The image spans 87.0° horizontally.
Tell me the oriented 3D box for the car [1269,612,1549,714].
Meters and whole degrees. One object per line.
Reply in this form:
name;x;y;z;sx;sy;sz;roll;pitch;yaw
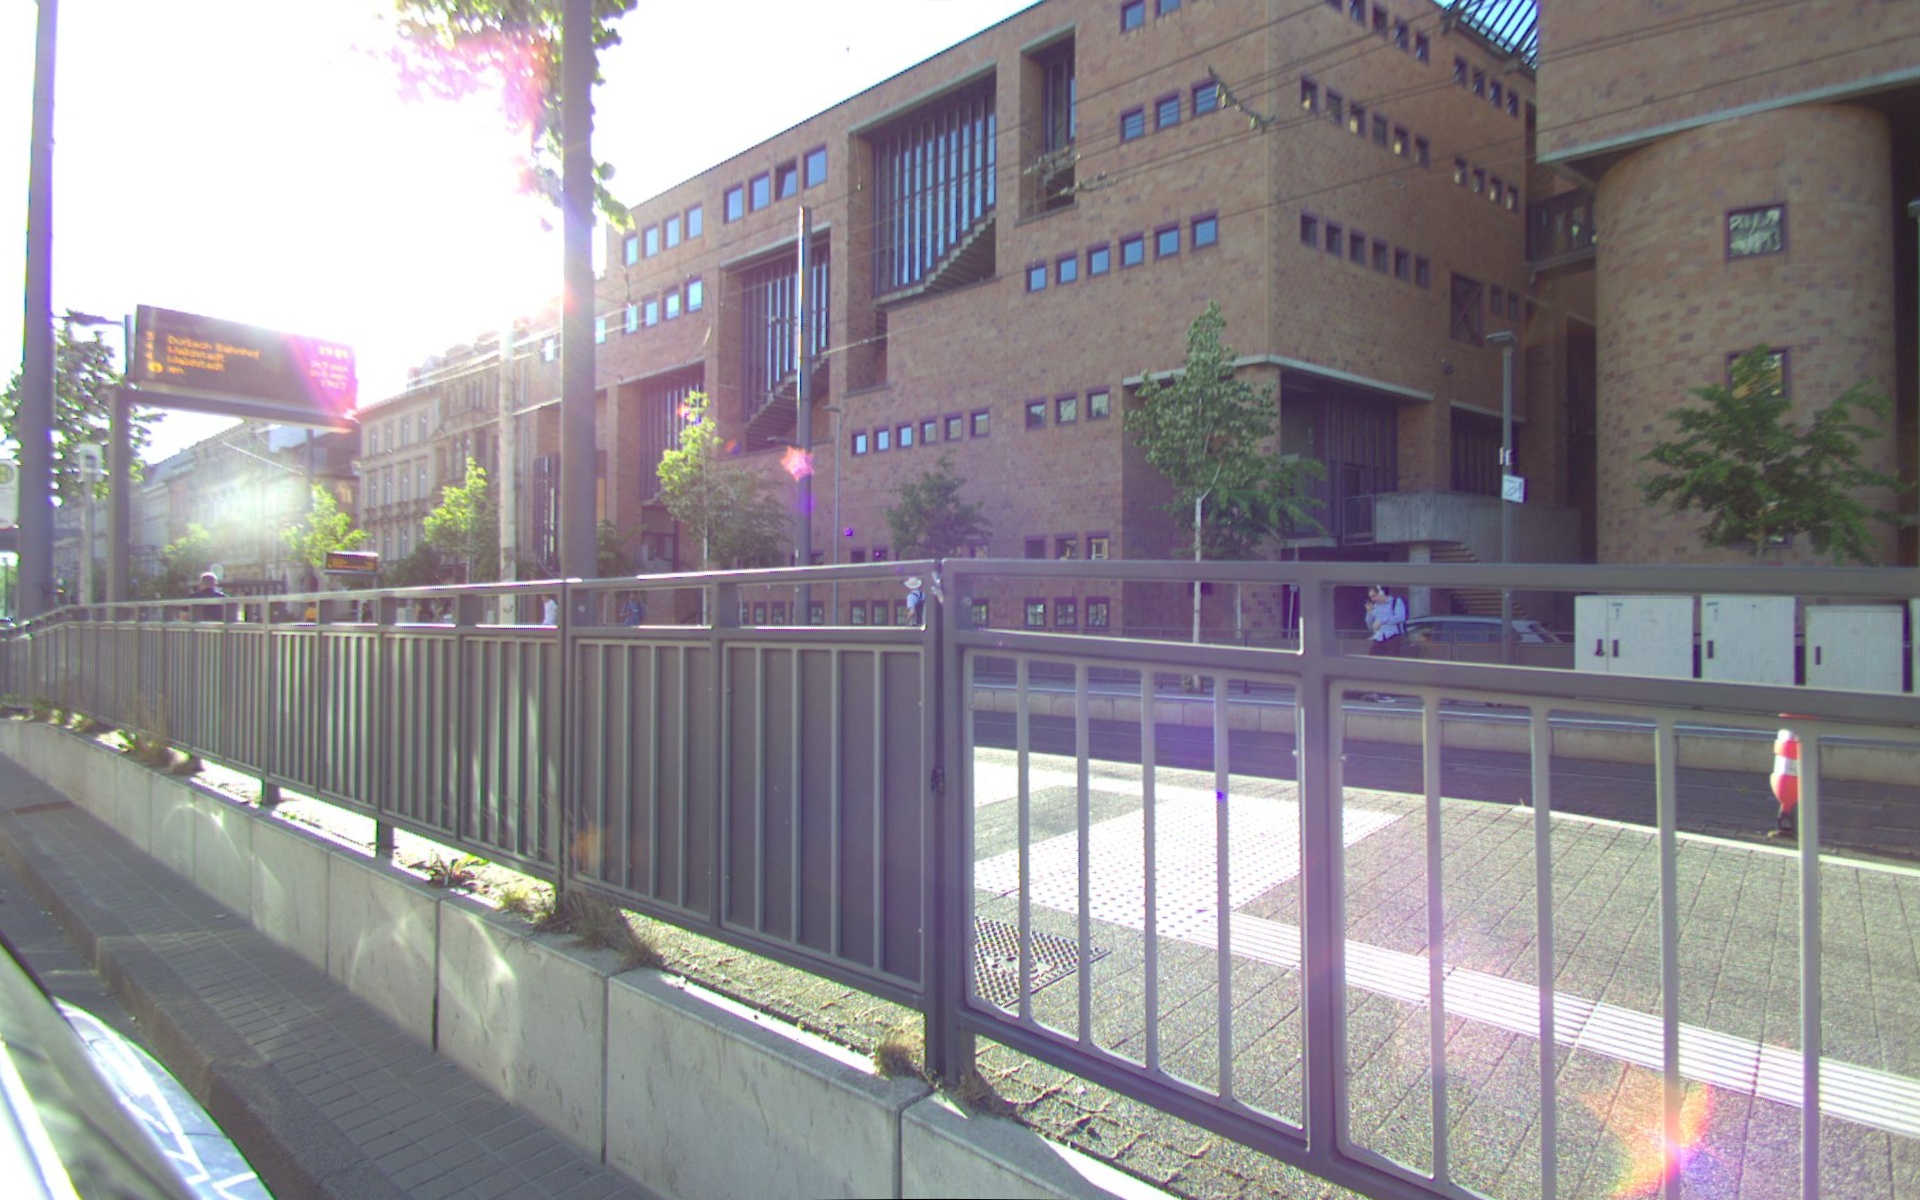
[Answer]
car;7.853;1.024;17.863;4.234;1.580;1.808;0;-2;37

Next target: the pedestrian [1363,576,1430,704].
pedestrian;5.801;0.509;13.449;0.684;1.647;0.660;0;0;37

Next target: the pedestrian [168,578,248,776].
pedestrian;-9.717;0.960;13.080;0.625;2.461;0.676;0;0;38

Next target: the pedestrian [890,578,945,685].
pedestrian;-0.749;0.535;17.731;0.668;1.821;0.677;0;0;40
